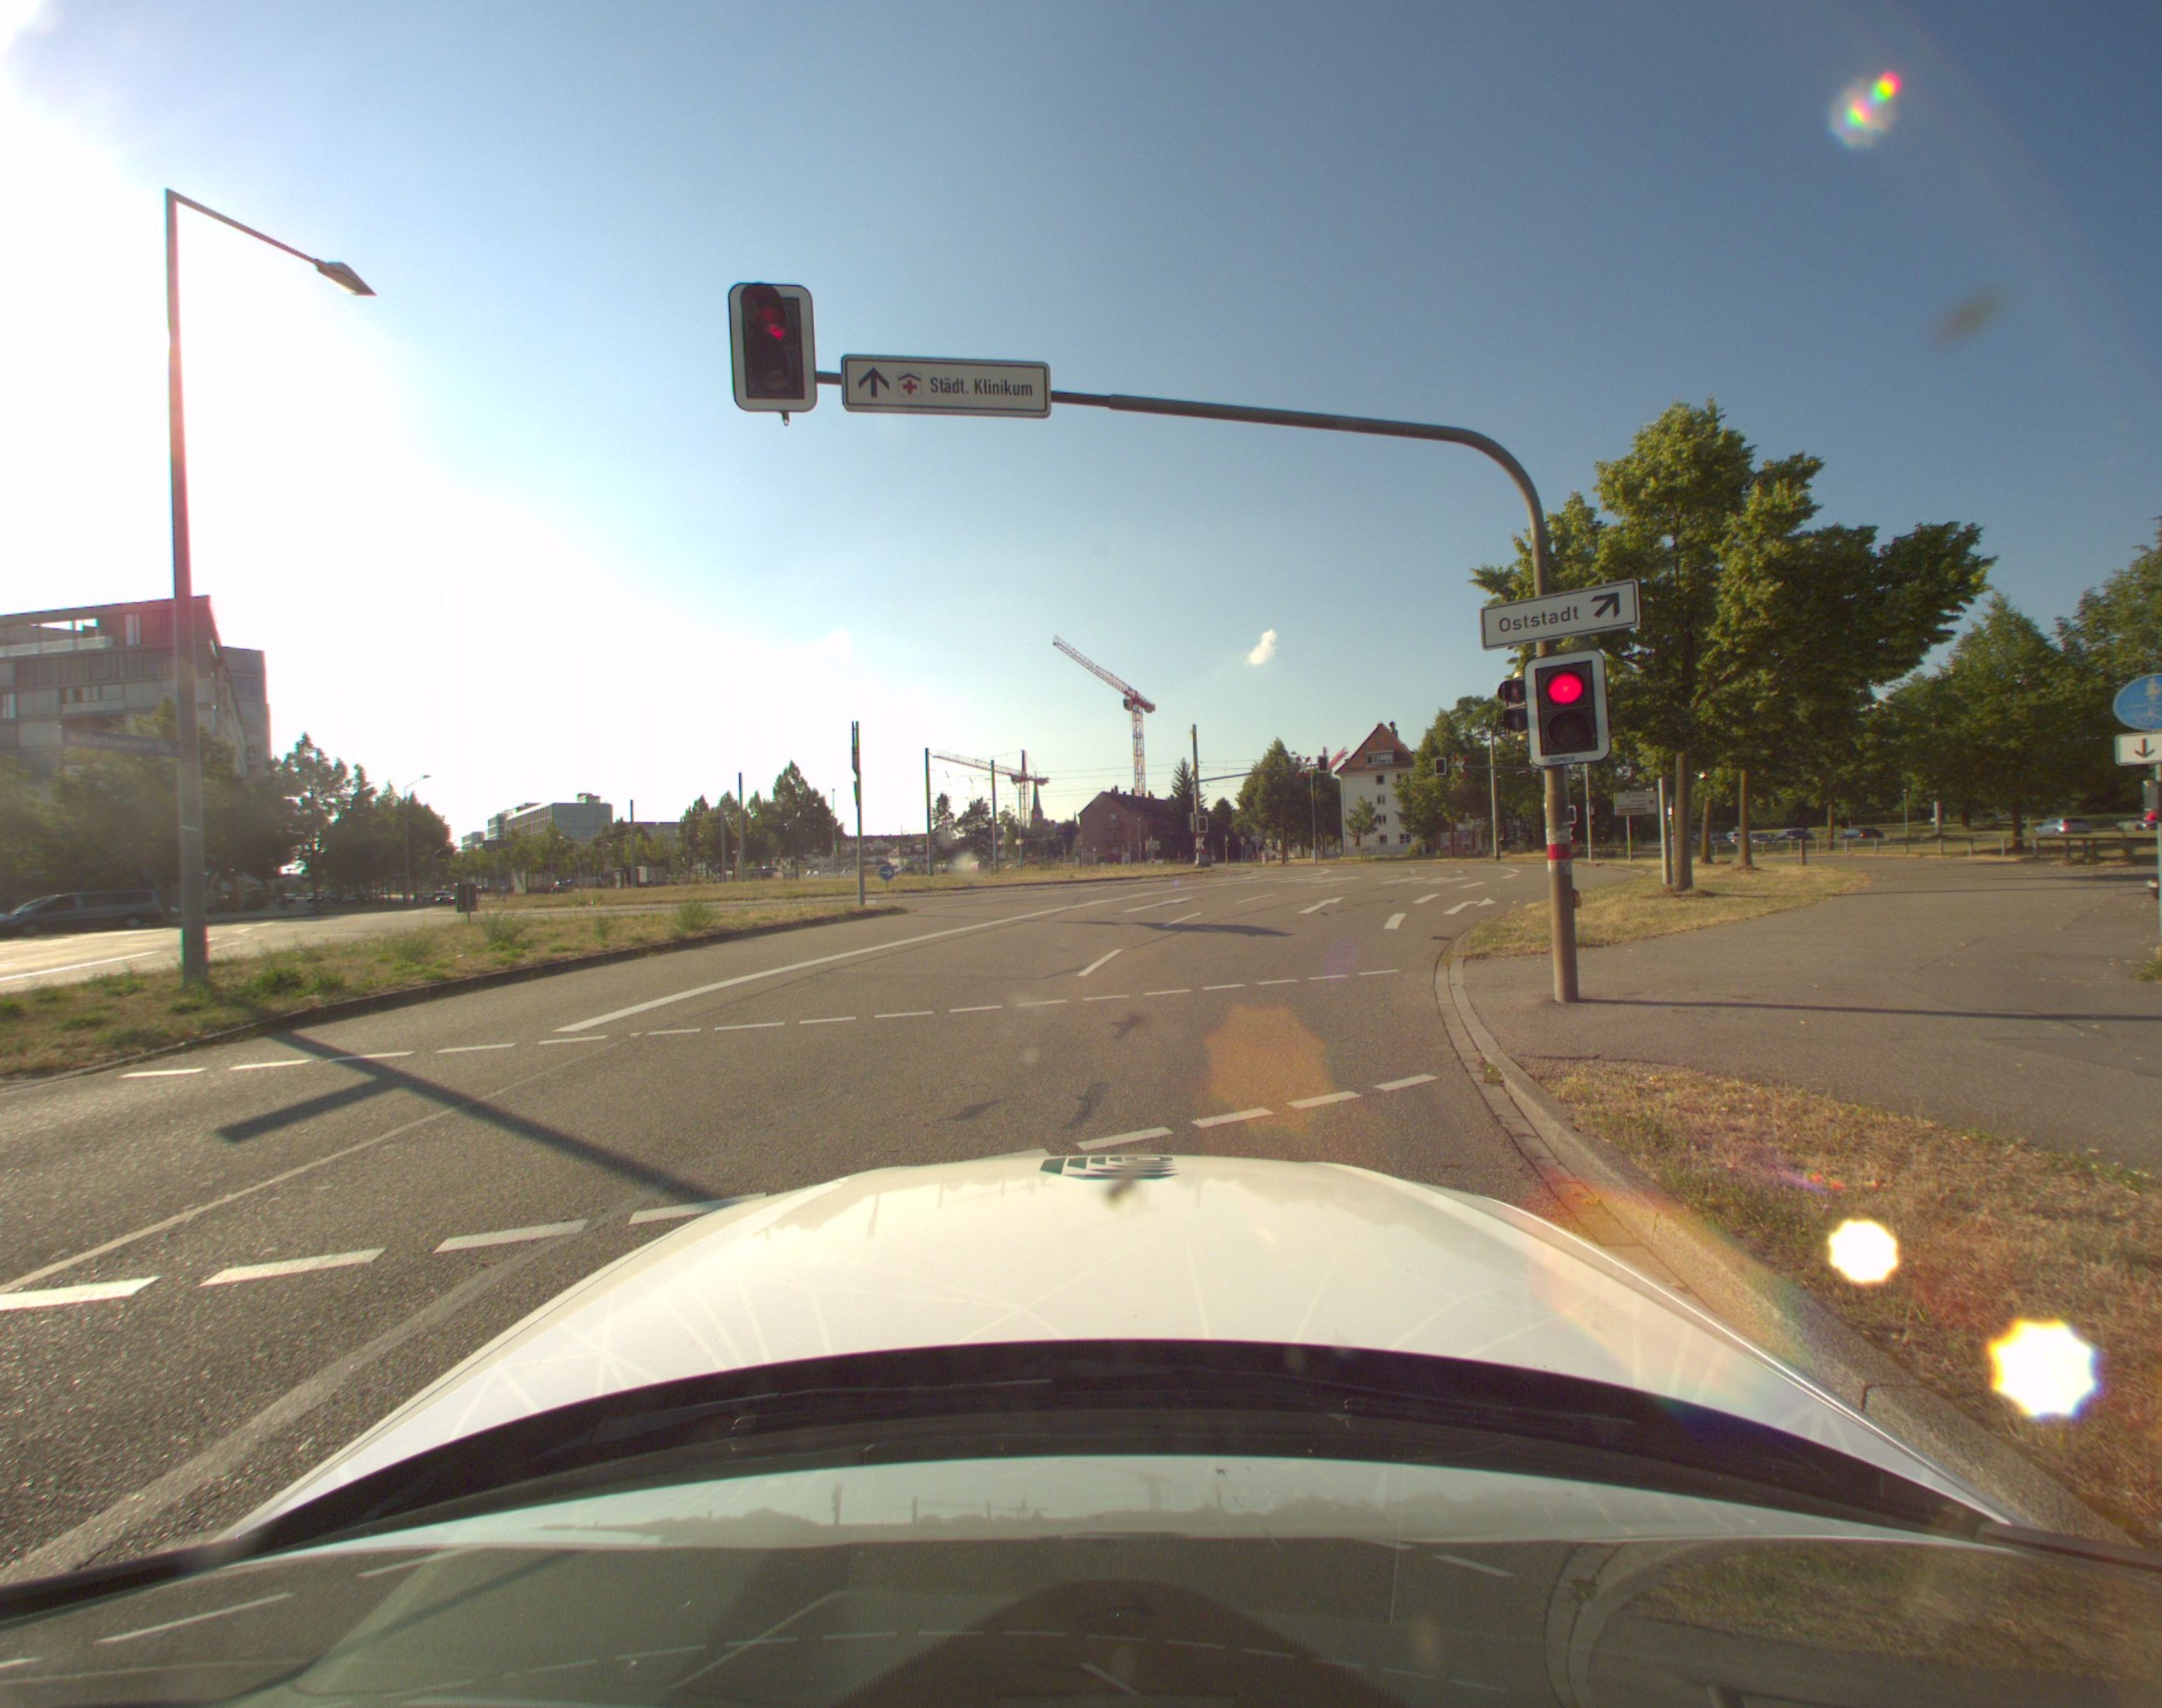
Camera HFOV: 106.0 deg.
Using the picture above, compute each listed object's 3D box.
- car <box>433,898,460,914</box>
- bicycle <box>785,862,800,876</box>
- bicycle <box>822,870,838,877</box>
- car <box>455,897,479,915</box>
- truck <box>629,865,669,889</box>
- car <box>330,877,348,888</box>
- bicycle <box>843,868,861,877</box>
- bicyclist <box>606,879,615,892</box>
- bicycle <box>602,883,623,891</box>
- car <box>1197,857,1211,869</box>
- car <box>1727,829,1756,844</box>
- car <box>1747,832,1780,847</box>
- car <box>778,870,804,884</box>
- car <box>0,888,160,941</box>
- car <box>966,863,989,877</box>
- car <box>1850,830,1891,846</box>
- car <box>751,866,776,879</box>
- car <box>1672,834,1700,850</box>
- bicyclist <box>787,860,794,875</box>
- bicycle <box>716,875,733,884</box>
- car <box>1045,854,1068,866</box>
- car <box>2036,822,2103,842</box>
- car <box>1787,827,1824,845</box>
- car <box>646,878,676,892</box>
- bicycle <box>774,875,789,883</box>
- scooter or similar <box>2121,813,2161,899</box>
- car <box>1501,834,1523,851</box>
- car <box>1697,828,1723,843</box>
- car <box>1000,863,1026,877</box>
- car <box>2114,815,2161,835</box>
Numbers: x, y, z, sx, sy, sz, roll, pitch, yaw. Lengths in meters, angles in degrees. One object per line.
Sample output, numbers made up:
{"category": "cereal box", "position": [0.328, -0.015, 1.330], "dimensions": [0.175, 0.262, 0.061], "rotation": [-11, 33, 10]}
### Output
{"category": "car", "position": [-68.857, 5.621, 88.344], "dimensions": [2.011, 1.475, 3.952], "rotation": [-2, 0, -42]}
{"category": "bicycle", "position": [-33.037, 1.729, 93.149], "dimensions": [1.546, 1.473, 0.476], "rotation": [-2, 0, -25]}
{"category": "bicycle", "position": [-29.383, 2.301, 95.337], "dimensions": [1.724, 0.744, 0.477], "rotation": [-2, 0, -25]}
{"category": "car", "position": [-58.554, 4.930, 77.636], "dimensions": [1.493, 1.475, 3.260], "rotation": [-2, 0, -42]}
{"category": "truck", "position": [-63.359, 3.378, 119.332], "dimensions": [3.156, 3.231, 7.085], "rotation": [-2, 0, -44]}
{"category": "car", "position": [-110.653, 4.206, 121.444], "dimensions": [1.800, 1.556, 3.950], "rotation": [0, -1, -45]}
{"category": "bicycle", "position": [-26.461, 2.128, 94.078], "dimensions": [1.983, 0.918, 0.429], "rotation": [-2, 0, -4]}
{"category": "bicyclist", "position": [-47.128, 3.160, 81.499], "dimensions": [0.658, 1.325, 0.512], "rotation": [-2, 0, -42]}
{"category": "bicycle", "position": [-46.941, 3.286, 81.628], "dimensions": [1.731, 0.744, 0.475], "rotation": [-2, 0, -42]}
{"category": "car", "position": [13.628, 0.972, 90.307], "dimensions": [1.447, 1.300, 3.557], "rotation": [-2, 0, 8]}
{"category": "car", "position": [67.116, -1.713, 82.814], "dimensions": [1.586, 1.402, 3.993], "rotation": [-3, -1, 30]}
{"category": "car", "position": [60.913, -1.272, 72.748], "dimensions": [1.586, 1.221, 3.993], "rotation": [-3, -1, 30]}
{"category": "car", "position": [-46.989, 3.695, 131.908], "dimensions": [3.948, 2.013, 2.013], "rotation": [-3, 0, 36]}
{"category": "car", "position": [-46.437, 2.722, 37.519], "dimensions": [1.977, 2.013, 4.844], "rotation": [-3, 0, 19]}
{"category": "car", "position": [-14.782, 2.257, 116.600], "dimensions": [1.930, 1.854, 3.964], "rotation": [-2, 0, -28]}
{"category": "car", "position": [67.165, -1.336, 69.329], "dimensions": [1.586, 1.310, 3.993], "rotation": [-3, -1, 30]}
{"category": "car", "position": [-53.528, 3.128, 137.126], "dimensions": [3.948, 2.013, 2.013], "rotation": [-3, 0, 36]}
{"category": "car", "position": [56.099, -1.099, 75.601], "dimensions": [1.586, 1.402, 3.993], "rotation": [-3, -1, 30]}
{"category": "bicyclist", "position": [-33.190, 1.524, 93.091], "dimensions": [0.609, 1.672, 0.474], "rotation": [-2, -1, -24]}
{"category": "bicycle", "position": [-38.218, 2.750, 87.360], "dimensions": [1.622, 0.860, 0.541], "rotation": [-2, 0, -24]}
{"category": "car", "position": [-4.562, 1.147, 150.166], "dimensions": [3.776, 2.014, 1.680], "rotation": [-3, -1, 20]}
{"category": "car", "position": [78.262, -1.754, 64.546], "dimensions": [1.804, 1.403, 4.023], "rotation": [-3, -1, 26]}
{"category": "car", "position": [63.322, -1.555, 71.222], "dimensions": [1.586, 1.402, 3.993], "rotation": [-3, -1, 30]}
{"category": "car", "position": [-43.627, 3.201, 84.547], "dimensions": [2.684, 1.261, 1.103], "rotation": [-2, 0, -32]}
{"category": "bicycle", "position": [-34.374, 2.864, 93.487], "dimensions": [1.622, 0.860, 0.541], "rotation": [-2, 0, -24]}
{"category": "scooter or similar", "position": [15.412, 0.002, 11.598], "dimensions": [1.172, 1.160, 0.340], "rotation": [-4, -3, -23]}
{"category": "car", "position": [42.978, -1.152, 81.185], "dimensions": [1.754, 1.618, 3.993], "rotation": [-3, -1, 30]}
{"category": "car", "position": [64.762, -1.854, 83.866], "dimensions": [1.586, 1.402, 3.993], "rotation": [-3, -1, 30]}
{"category": "car", "position": [-11.102, 2.582, 132.945], "dimensions": [3.776, 2.014, 1.680], "rotation": [-3, -1, 20]}
{"category": "car", "position": [82.763, -2.272, 63.065], "dimensions": [1.804, 1.403, 4.023], "rotation": [-3, -1, 26]}
